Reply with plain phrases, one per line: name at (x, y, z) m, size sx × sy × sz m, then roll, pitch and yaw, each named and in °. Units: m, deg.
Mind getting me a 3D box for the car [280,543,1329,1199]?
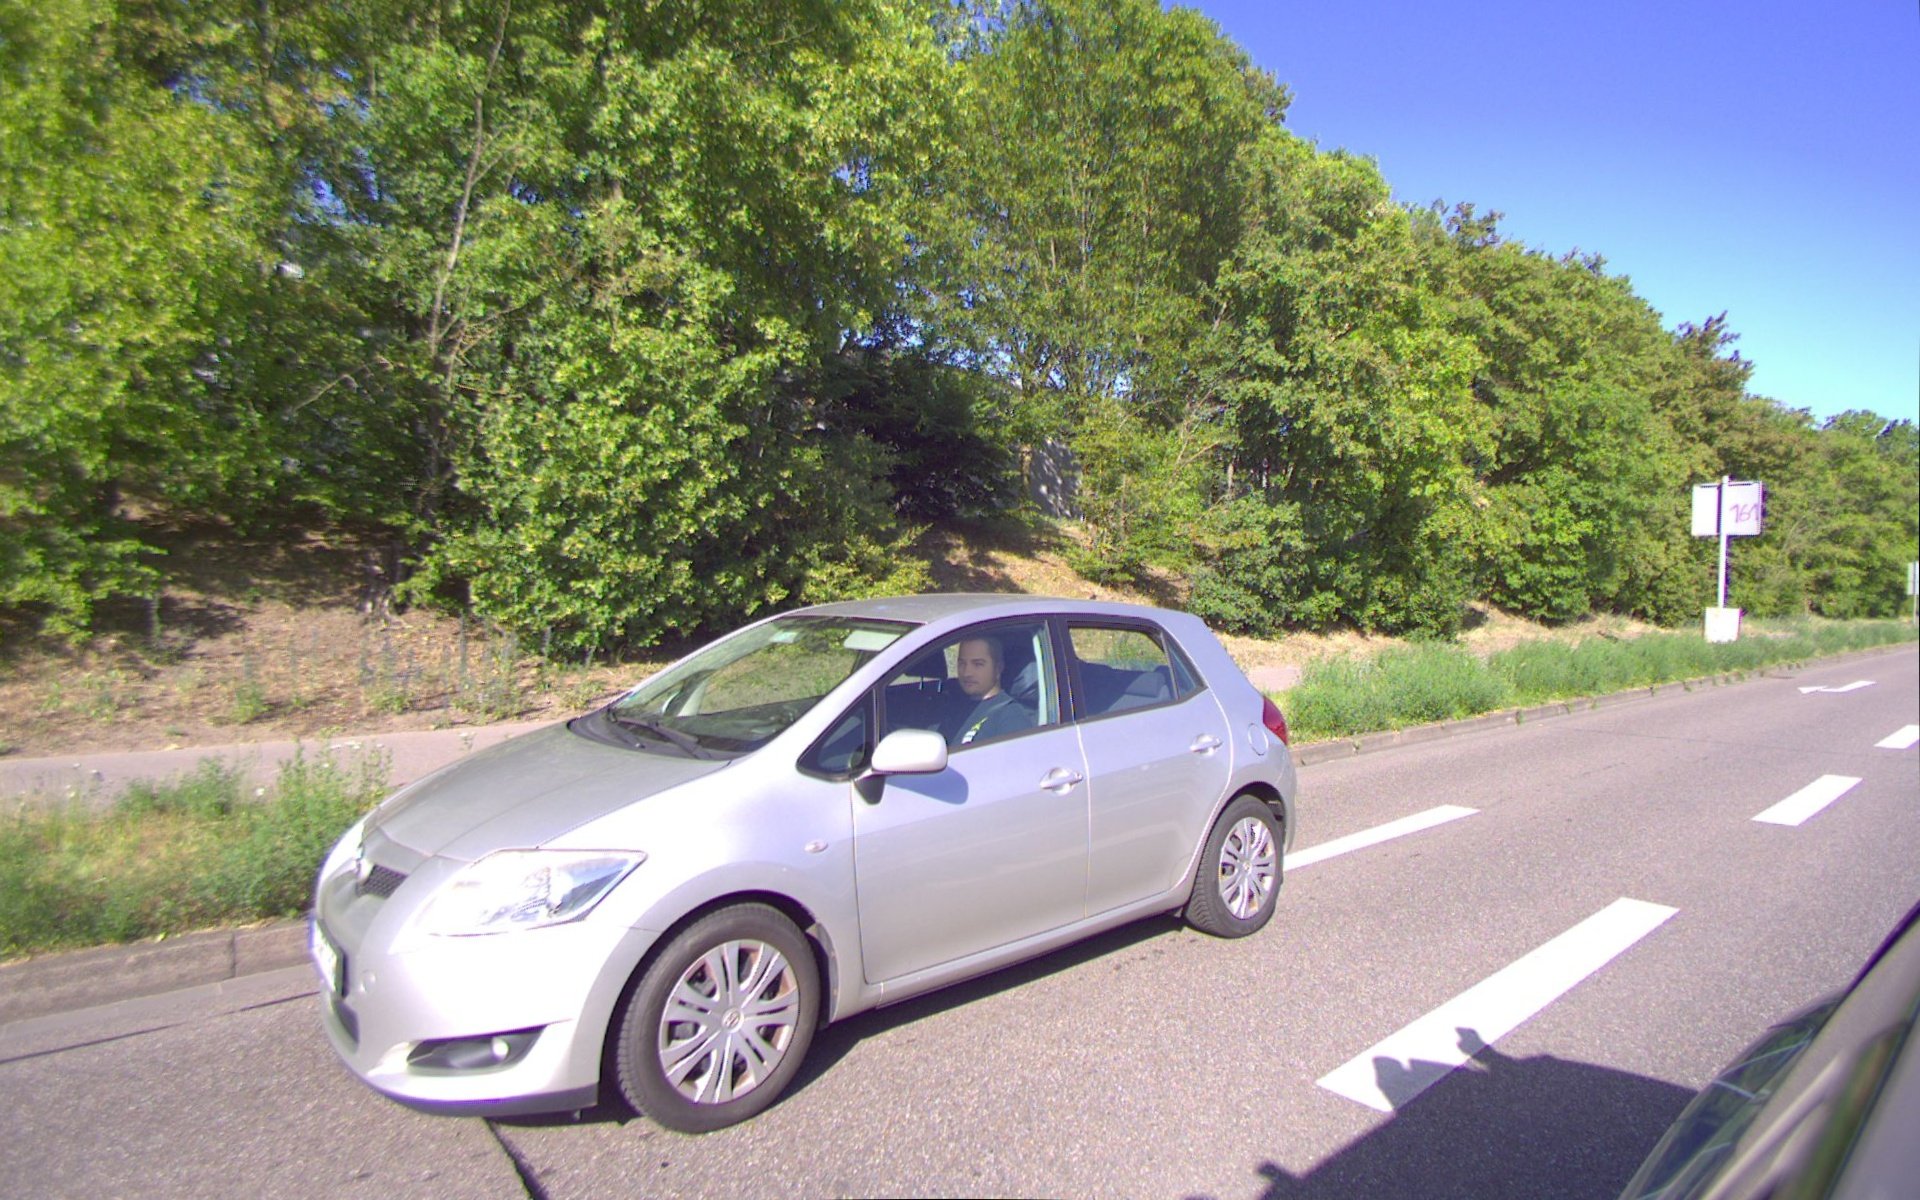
car at (-0.313, 0.654, 4.241) m, size 4.036 × 1.556 × 1.786 m, roll 0°, pitch 0°, yaw -41°
